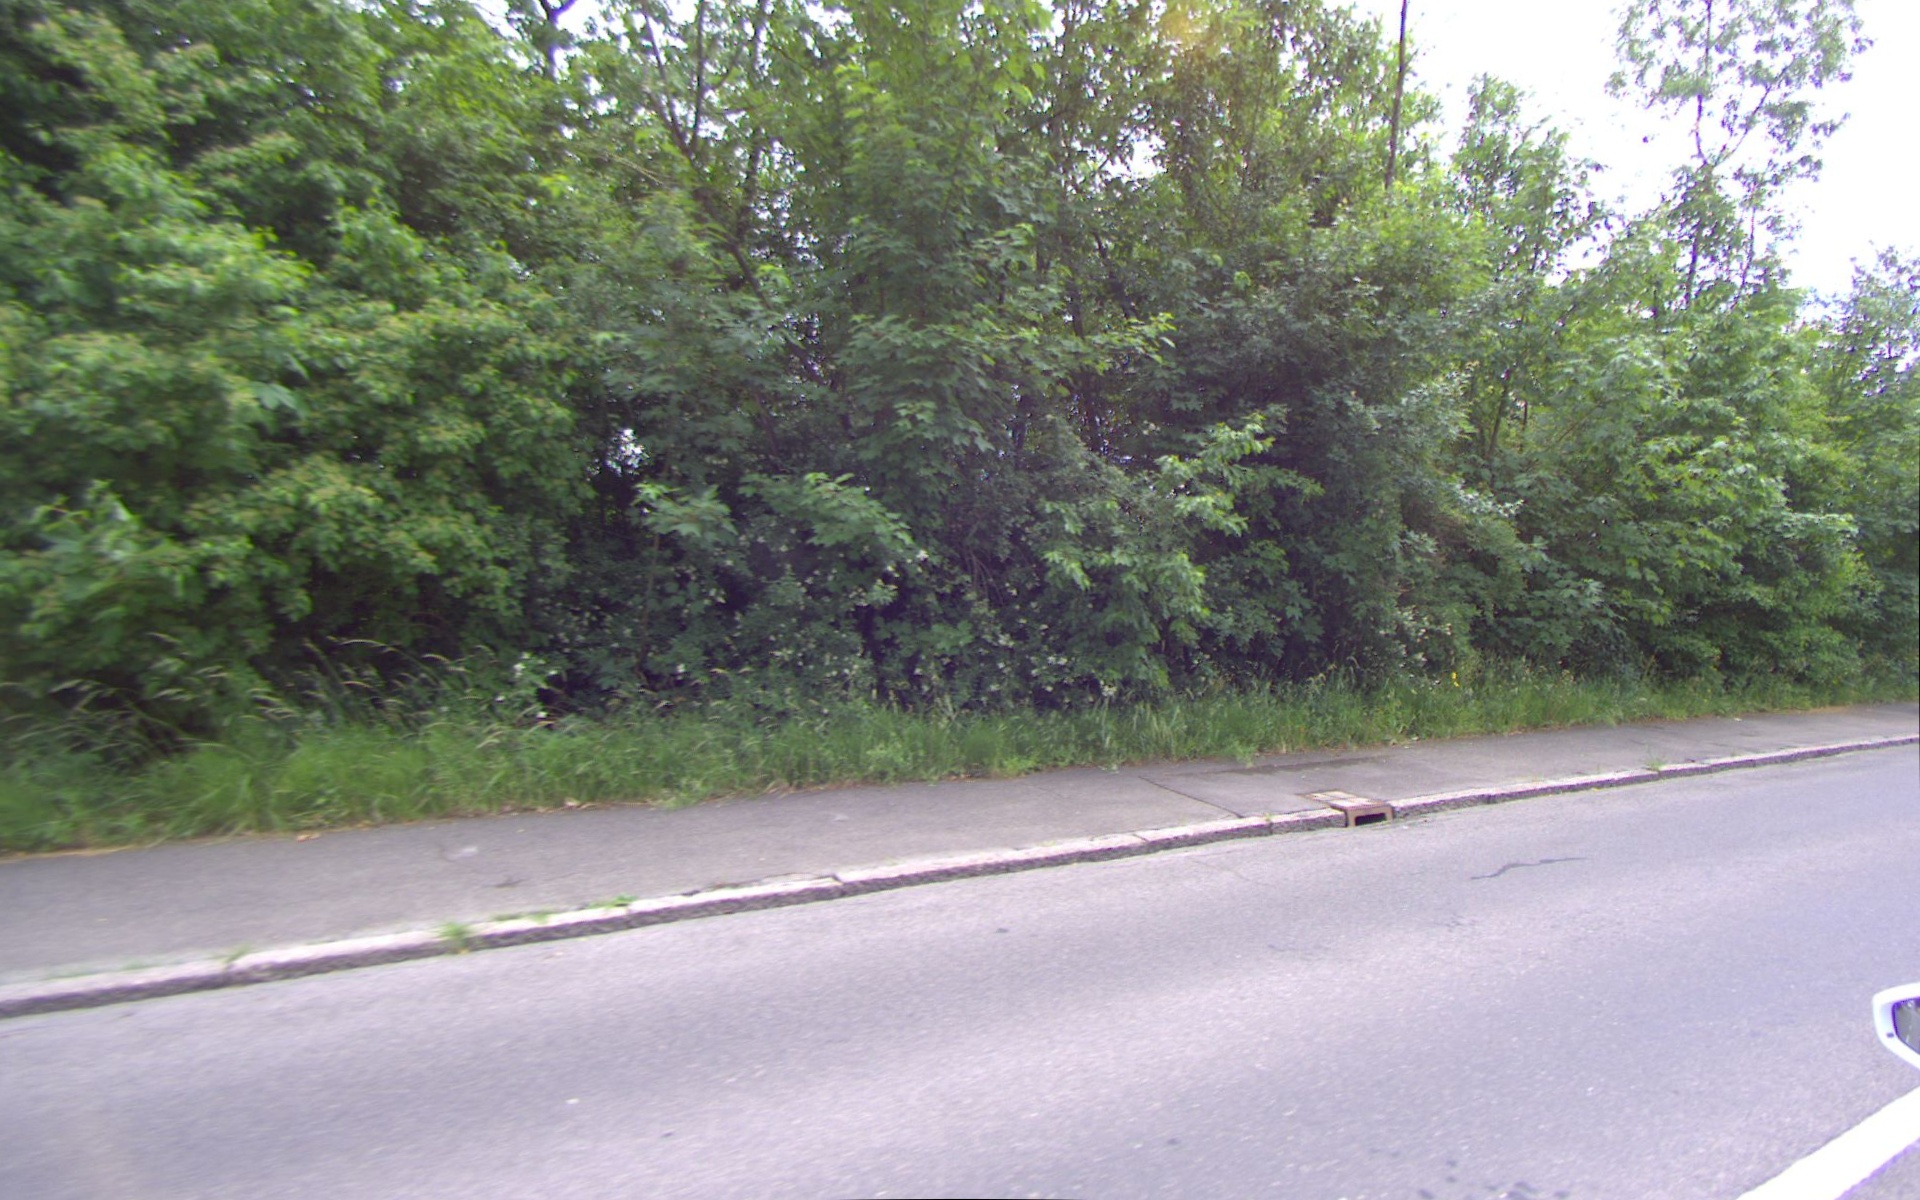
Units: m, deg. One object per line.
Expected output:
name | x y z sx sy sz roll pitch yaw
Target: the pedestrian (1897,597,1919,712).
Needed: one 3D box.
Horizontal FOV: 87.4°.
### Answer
pedestrian | 15.370 0.856 15.691 0.781 1.793 0.862 0 2 -34
